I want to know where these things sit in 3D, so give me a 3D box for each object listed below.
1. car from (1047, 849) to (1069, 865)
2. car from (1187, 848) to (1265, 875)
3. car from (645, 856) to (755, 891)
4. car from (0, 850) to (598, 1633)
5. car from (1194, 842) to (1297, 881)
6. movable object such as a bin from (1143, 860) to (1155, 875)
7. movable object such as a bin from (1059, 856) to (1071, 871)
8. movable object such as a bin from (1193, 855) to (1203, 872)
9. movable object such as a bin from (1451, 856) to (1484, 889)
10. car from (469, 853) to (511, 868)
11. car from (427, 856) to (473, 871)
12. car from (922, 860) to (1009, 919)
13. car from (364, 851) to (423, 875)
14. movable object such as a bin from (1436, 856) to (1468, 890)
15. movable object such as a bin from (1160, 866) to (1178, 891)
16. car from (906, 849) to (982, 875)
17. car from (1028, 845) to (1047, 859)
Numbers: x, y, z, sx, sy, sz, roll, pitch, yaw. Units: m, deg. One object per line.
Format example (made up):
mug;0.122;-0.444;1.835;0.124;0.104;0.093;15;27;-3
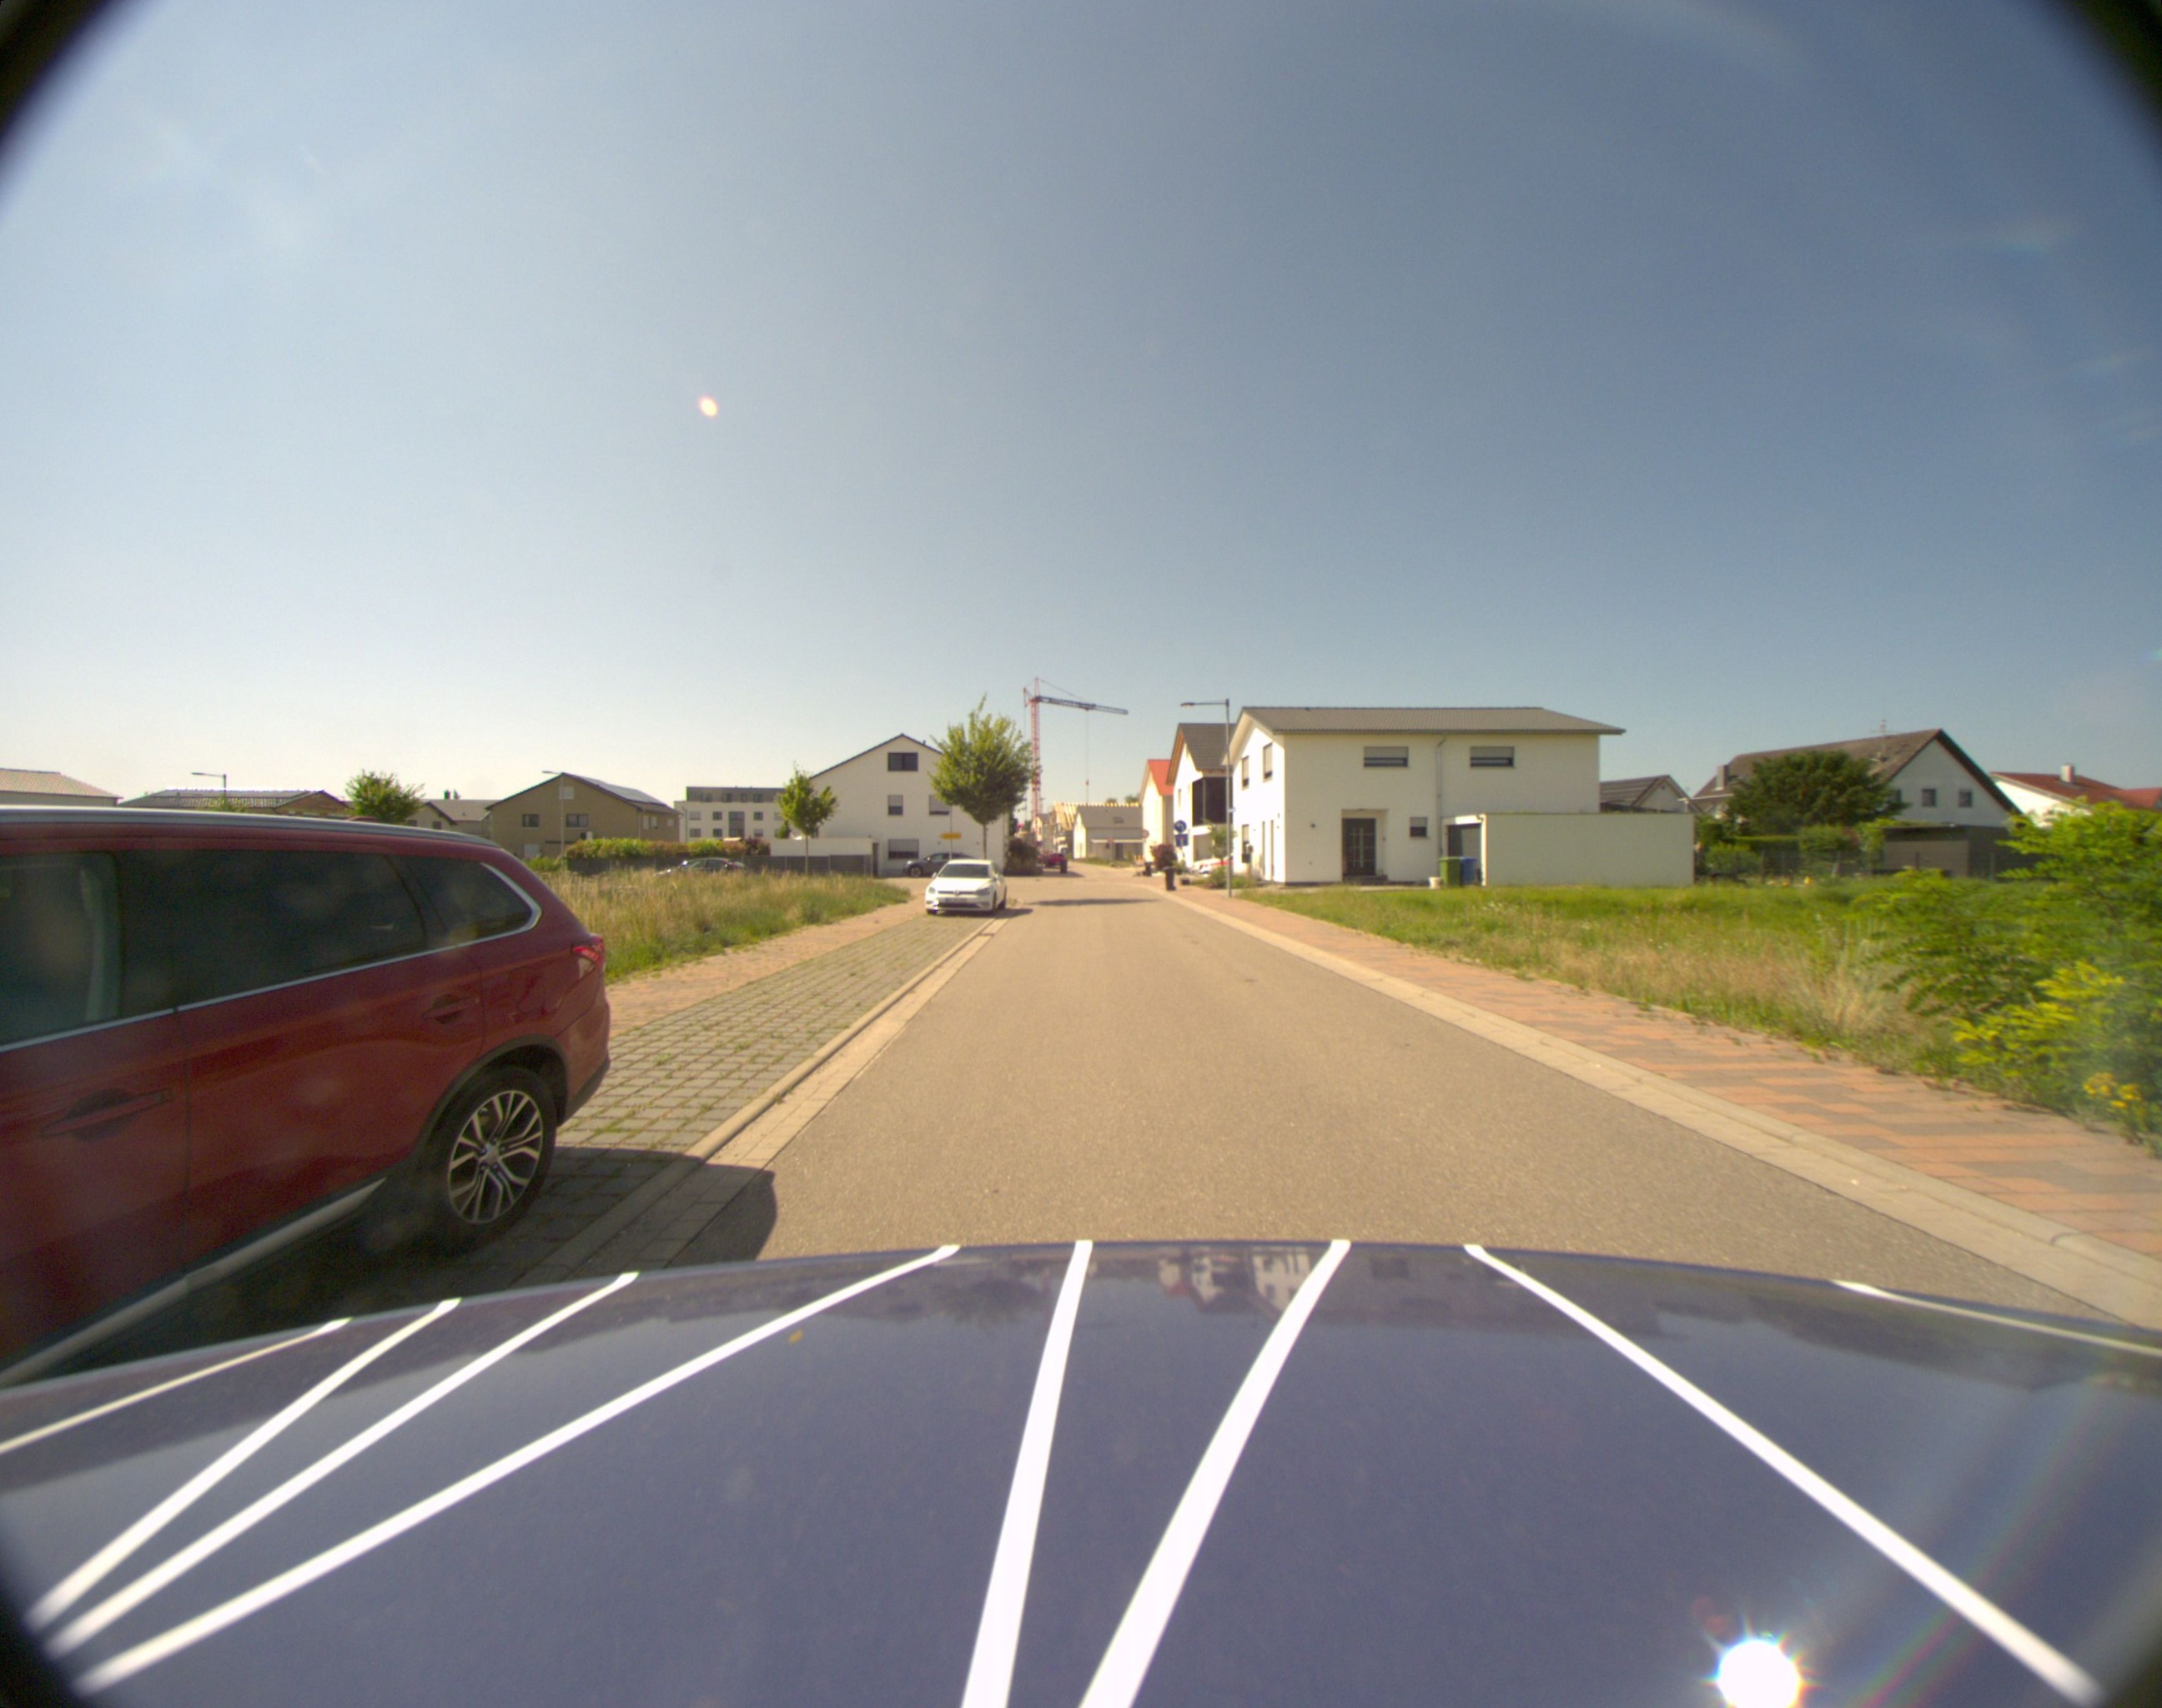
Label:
car;-2.321;0.301;74.636;1.912;1.470;3.997;-1;2;-5
car;8.477;0.422;44.626;4.165;1.553;1.744;0;1;-6
car;-17.919;0.882;35.924;4.193;1.485;1.848;-1;2;-7
car;-3.176;0.821;1.424;1.781;1.653;4.433;1;0;-1
car;8.252;0.362;38.348;4.749;1.864;1.937;0;1;-3
movable object such as a bin;4.213;0.819;46.967;0.618;0.931;0.564;-1;0;-5
movable object such as a bin;-1.204;0.708;56.807;0.824;1.058;0.589;-1;2;-5
movable object such as a bin;7.347;0.608;47.784;0.500;1.085;0.601;-1;-1;-5
movable object such as a bin;12.990;0.610;25.549;0.671;1.092;0.808;0;1;0
car;-62.466;0.665;80.365;1.750;1.494;3.996;0;0;-9
car;-61.468;0.943;74.064;1.668;1.392;3.916;0;0;-9
car;-3.086;0.916;21.102;1.780;1.411;4.165;1;0;0
car;-60.506;0.735;66.944;2.000;2.002;3.996;0;1;-9
movable object such as a bin;12.365;0.620;25.350;0.661;1.092;0.784;0;1;-1
movable object such as a bin;3.490;0.959;30.105;0.625;0.943;0.499;-1;2;-5
car;-8.414;0.488;46.945;4.348;1.549;1.960;-1;0;-3
car;-5.421;-0.223;94.035;1.804;1.609;3.671;-1;2;-11
